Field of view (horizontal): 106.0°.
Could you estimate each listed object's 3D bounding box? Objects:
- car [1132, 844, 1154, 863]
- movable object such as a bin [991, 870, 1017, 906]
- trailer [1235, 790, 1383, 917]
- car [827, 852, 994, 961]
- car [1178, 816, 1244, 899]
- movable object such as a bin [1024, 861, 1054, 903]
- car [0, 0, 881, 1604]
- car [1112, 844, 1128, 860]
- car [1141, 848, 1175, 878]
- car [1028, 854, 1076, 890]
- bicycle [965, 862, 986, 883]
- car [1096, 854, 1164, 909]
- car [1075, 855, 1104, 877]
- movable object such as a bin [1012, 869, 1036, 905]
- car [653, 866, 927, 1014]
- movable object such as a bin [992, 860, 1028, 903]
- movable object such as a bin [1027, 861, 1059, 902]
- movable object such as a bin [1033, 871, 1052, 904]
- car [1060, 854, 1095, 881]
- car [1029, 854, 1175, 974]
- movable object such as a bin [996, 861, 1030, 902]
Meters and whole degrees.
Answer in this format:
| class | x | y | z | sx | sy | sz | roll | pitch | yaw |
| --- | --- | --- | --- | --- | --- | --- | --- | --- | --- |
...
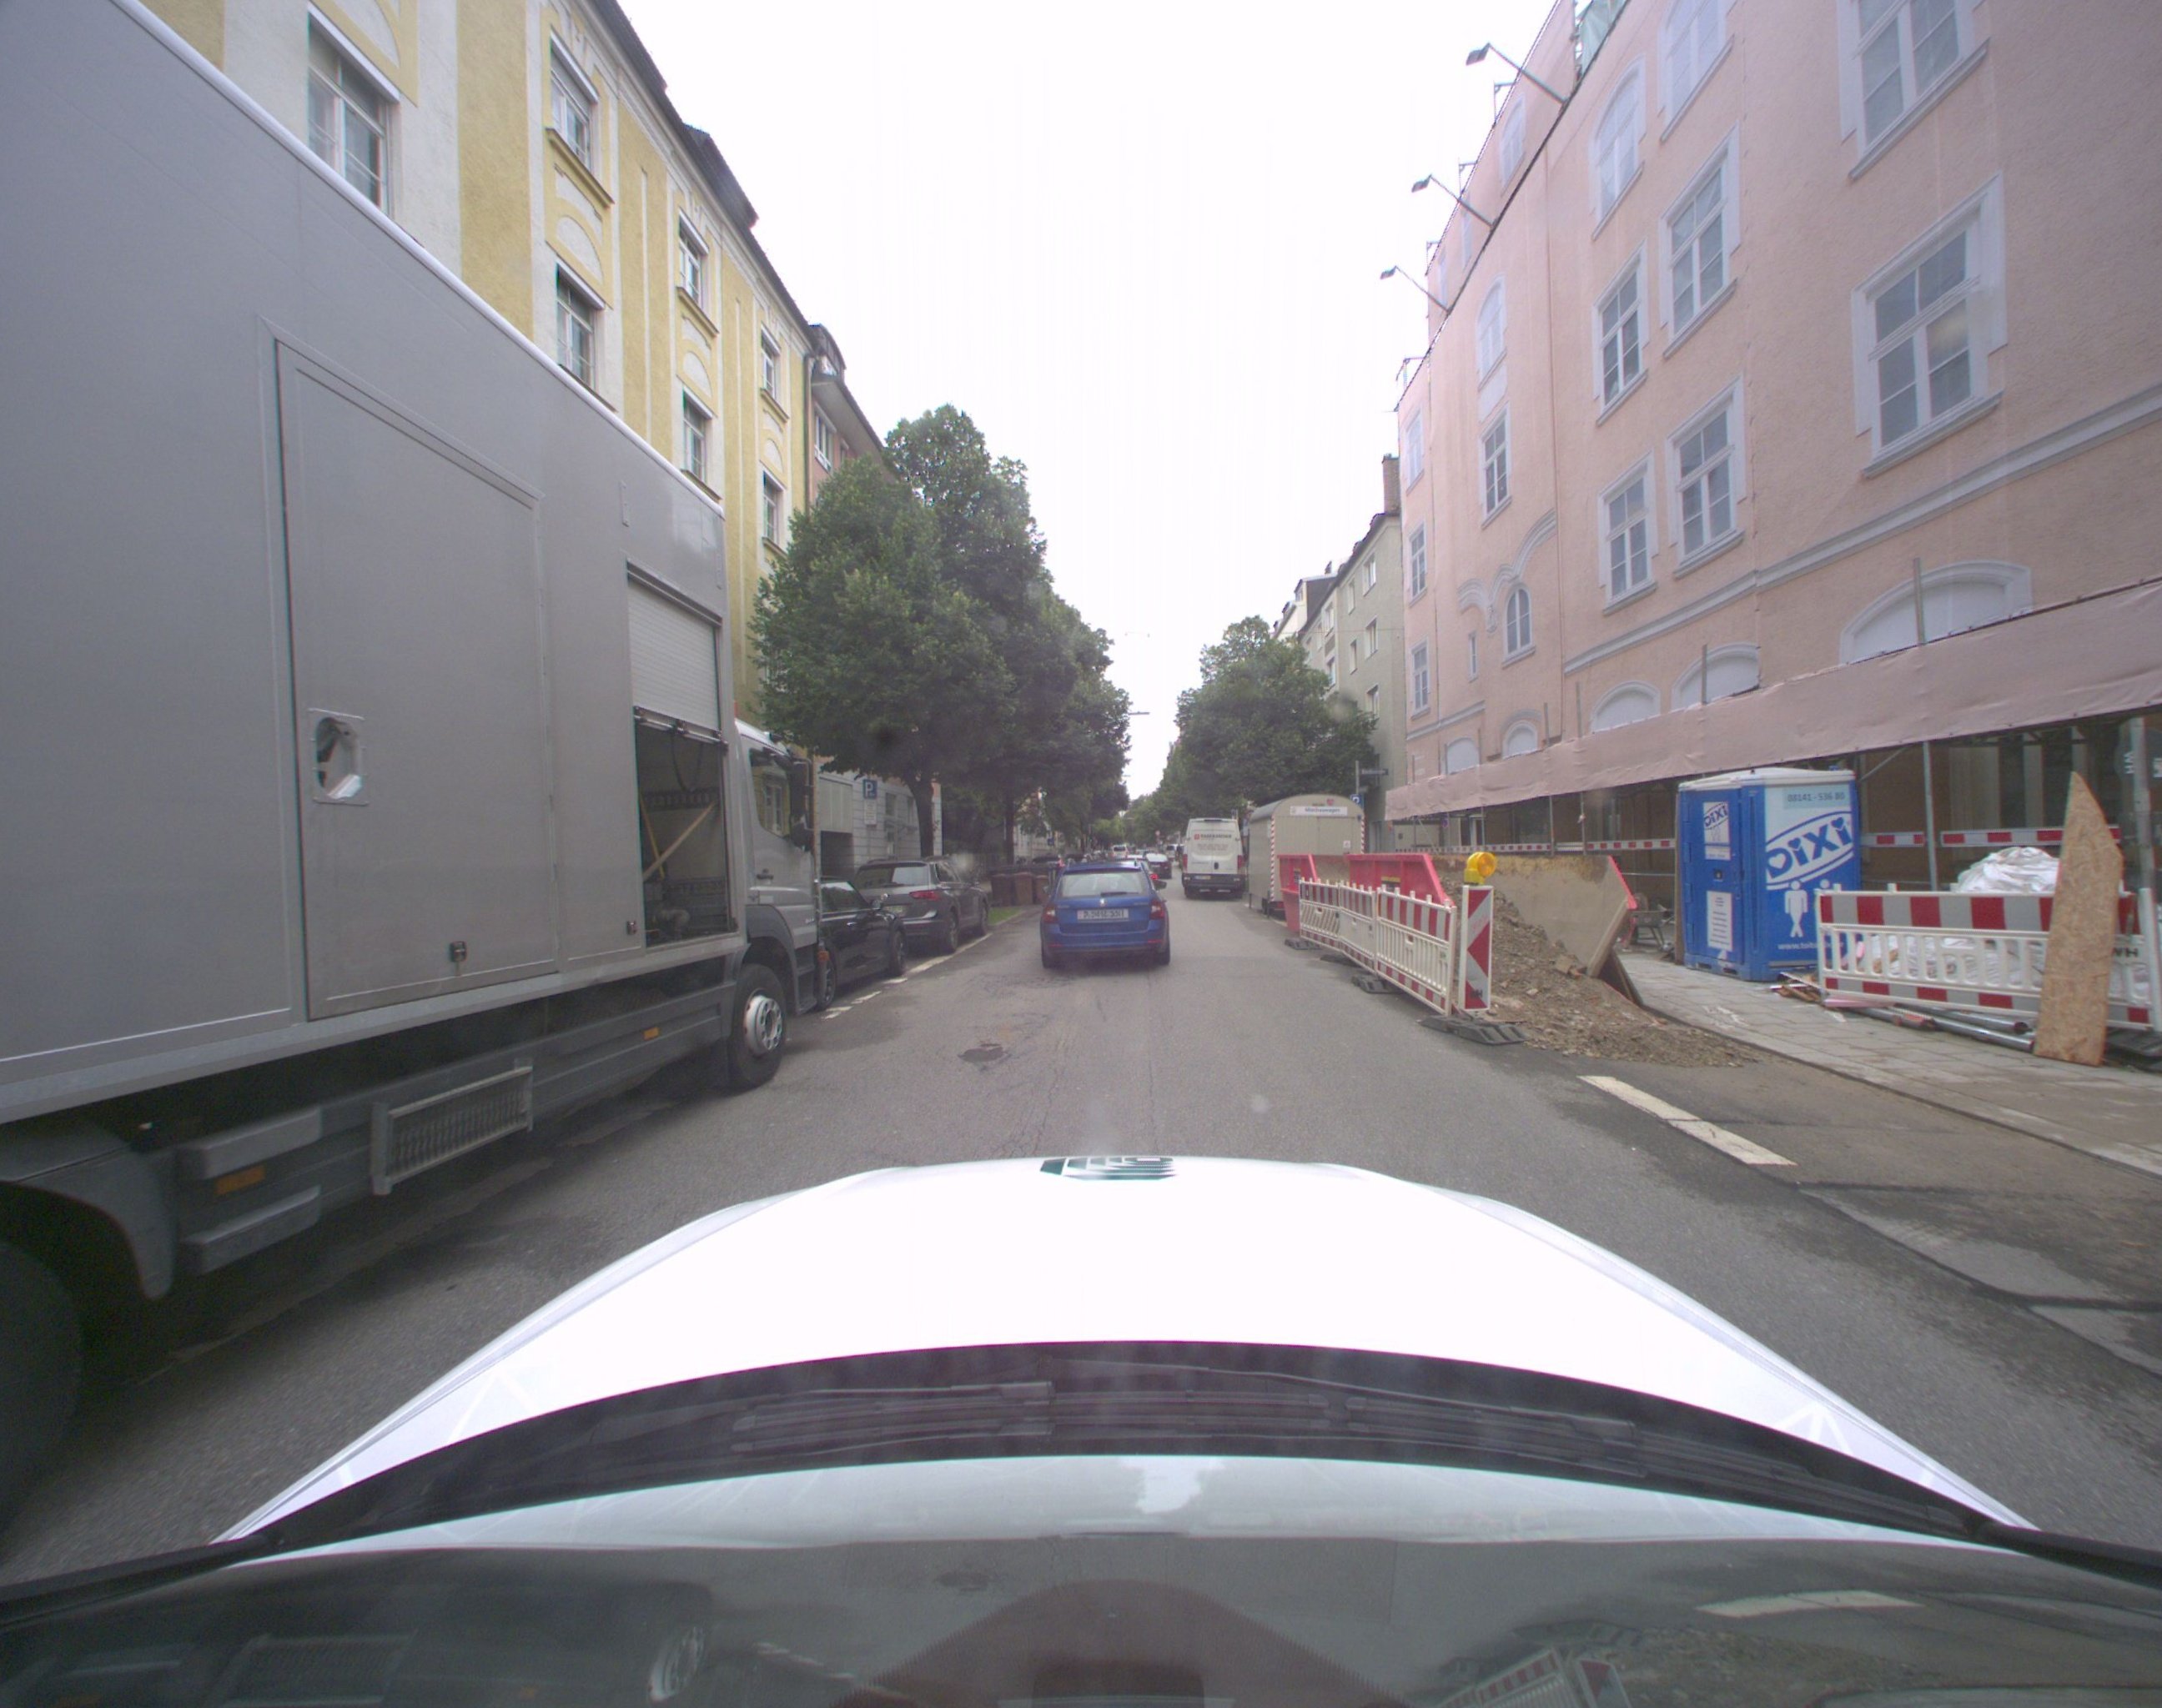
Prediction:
| class | x | y | z | sx | sy | sz | roll | pitch | yaw |
| --- | --- | --- | --- | --- | --- | --- | --- | --- | --- |
| car | 5.575 | -0.037 | 73.592 | 1.860 | 1.696 | 4.349 | 0 | 0 | 2 |
| movable object such as a bin | -2.565 | 1.140 | 27.166 | 0.718 | 1.138 | 0.658 | -3 | 0 | 0 |
| trailer | 5.774 | 0.015 | 21.772 | 2.491 | 2.840 | 6.908 | 0 | -1 | 4 |
| car | -2.898 | 0.820 | 14.814 | 1.776 | 1.628 | 4.190 | -2 | 0 | 5 |
| car | 4.644 | 0.125 | 28.947 | 2.100 | 2.664 | 5.515 | 0 | -1 | 10 |
| movable object such as a bin | -1.428 | 0.944 | 28.078 | 0.915 | 1.376 | 1.079 | -3 | 0 | 0 |
| car | -3.560 | -0.333 | 3.160 | 2.800 | 3.817 | 8.732 | -2 | 0 | 4 |
| car | 4.555 | -0.275 | 95.331 | 1.859 | 1.870 | 4.351 | 0 | 0 | 3 |
| car | 4.548 | 0.490 | 48.419 | 1.859 | 1.696 | 4.351 | 0 | 0 | 3 |
| car | -1.222 | 0.757 | 35.906 | 1.805 | 1.478 | 4.002 | -1 | 0 | 2 |
| bicycle | -5.744 | 1.008 | 44.544 | 0.631 | 1.067 | 2.391 | -2 | 0 | 5 |
| car | 1.402 | 0.736 | 23.234 | 1.733 | 1.422 | 3.667 | -2 | -1 | 3 |
| car | 0.655 | 0.833 | 58.634 | 1.804 | 1.478 | 4.004 | -1 | 0 | 4 |
| movable object such as a bin | -1.898 | 1.102 | 27.185 | 0.709 | 1.148 | 0.636 | -3 | 0 | 0 |
| car | -3.282 | 0.900 | 10.014 | 1.691 | 1.409 | 3.714 | -2 | 0 | 6 |
| movable object such as a bin | -2.425 | 0.934 | 28.048 | 1.078 | 1.376 | 1.083 | -3 | 0 | 0 |
| movable object such as a bin | -1.363 | 0.959 | 29.175 | 1.017 | 1.376 | 1.103 | -3 | 0 | 0 |
| movable object such as a bin | -1.278 | 1.109 | 27.212 | 0.545 | 1.020 | 0.636 | -3 | 0 | 0 |
| car | -0.157 | 0.727 | 46.607 | 1.805 | 1.478 | 4.002 | -1 | 0 | 2 |
| car | 0.433 | 0.758 | 12.291 | 1.781 | 1.460 | 4.320 | -2 | 0 | 5 |
| movable object such as a bin | -2.419 | 0.960 | 29.151 | 1.054 | 1.376 | 1.095 | -3 | 0 | 0 |
